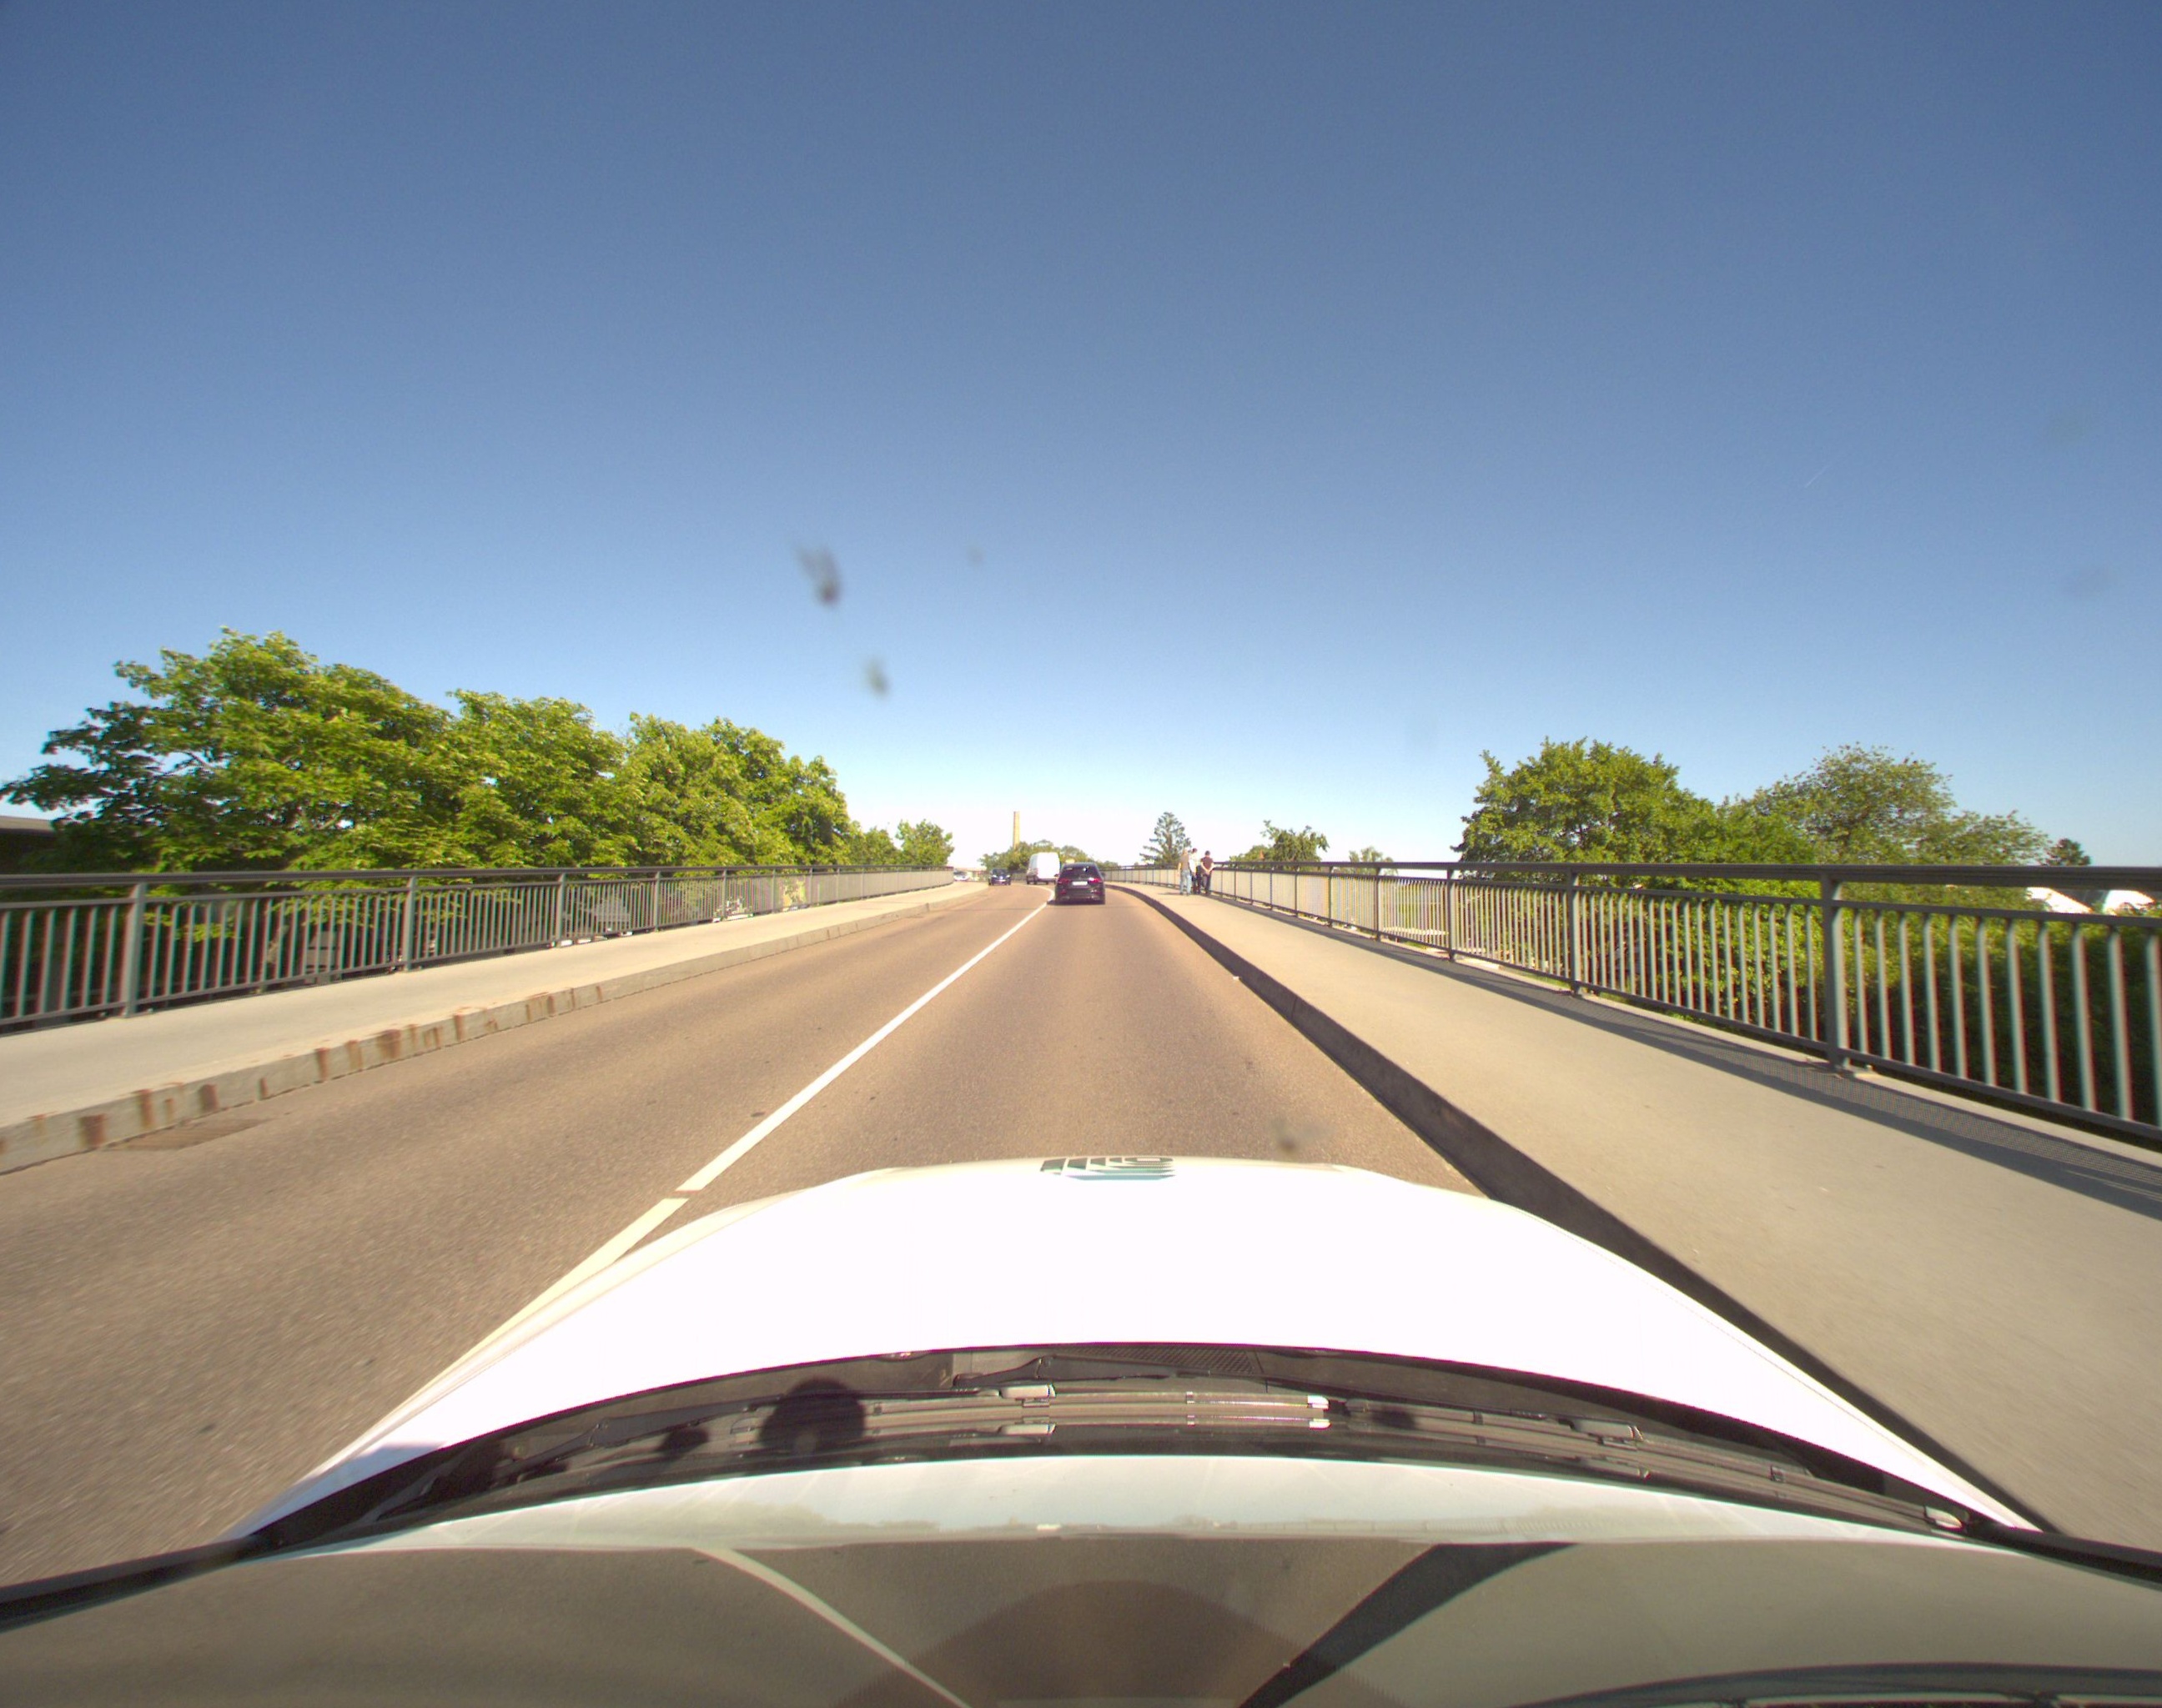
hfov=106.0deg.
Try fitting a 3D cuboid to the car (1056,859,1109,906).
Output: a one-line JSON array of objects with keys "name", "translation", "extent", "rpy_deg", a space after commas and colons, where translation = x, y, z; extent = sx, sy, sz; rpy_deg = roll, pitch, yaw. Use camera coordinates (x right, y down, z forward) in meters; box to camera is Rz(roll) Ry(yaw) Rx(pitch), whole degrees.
[{"name": "car", "translation": [-0.016, 1.001, 30.146], "extent": [1.765, 1.593, 3.985], "rpy_deg": [1, -1, -3]}]

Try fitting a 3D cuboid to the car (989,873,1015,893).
[{"name": "car", "translation": [-6.760, 2.478, 69.736], "extent": [1.763, 1.593, 3.989], "rpy_deg": [0, -1, 1]}]

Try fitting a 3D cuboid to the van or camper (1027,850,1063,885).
[{"name": "van or camper", "translation": [-3.202, 1.219, 70.412], "extent": [2.226, 2.740, 7.054], "rpy_deg": [1, -3, -10]}]

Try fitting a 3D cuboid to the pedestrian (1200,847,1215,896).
[{"name": "pedestrian", "translation": [4.624, 0.647, 29.709], "extent": [0.470, 1.750, 0.654], "rpy_deg": [0, -3, 1]}]

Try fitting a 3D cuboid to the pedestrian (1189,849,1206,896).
[{"name": "pedestrian", "translation": [4.365, 0.690, 30.590], "extent": [0.547, 1.750, 0.738], "rpy_deg": [0, -3, 1]}]

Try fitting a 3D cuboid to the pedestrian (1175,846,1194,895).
[{"name": "pedestrian", "translation": [3.790, 0.610, 29.876], "extent": [0.600, 1.750, 0.717], "rpy_deg": [0, -3, 1]}]

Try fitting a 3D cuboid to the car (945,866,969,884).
[{"name": "car", "translation": [-13.738, 2.285, 90.190], "extent": [1.854, 1.798, 3.973], "rpy_deg": [-1, 1, -20]}]
